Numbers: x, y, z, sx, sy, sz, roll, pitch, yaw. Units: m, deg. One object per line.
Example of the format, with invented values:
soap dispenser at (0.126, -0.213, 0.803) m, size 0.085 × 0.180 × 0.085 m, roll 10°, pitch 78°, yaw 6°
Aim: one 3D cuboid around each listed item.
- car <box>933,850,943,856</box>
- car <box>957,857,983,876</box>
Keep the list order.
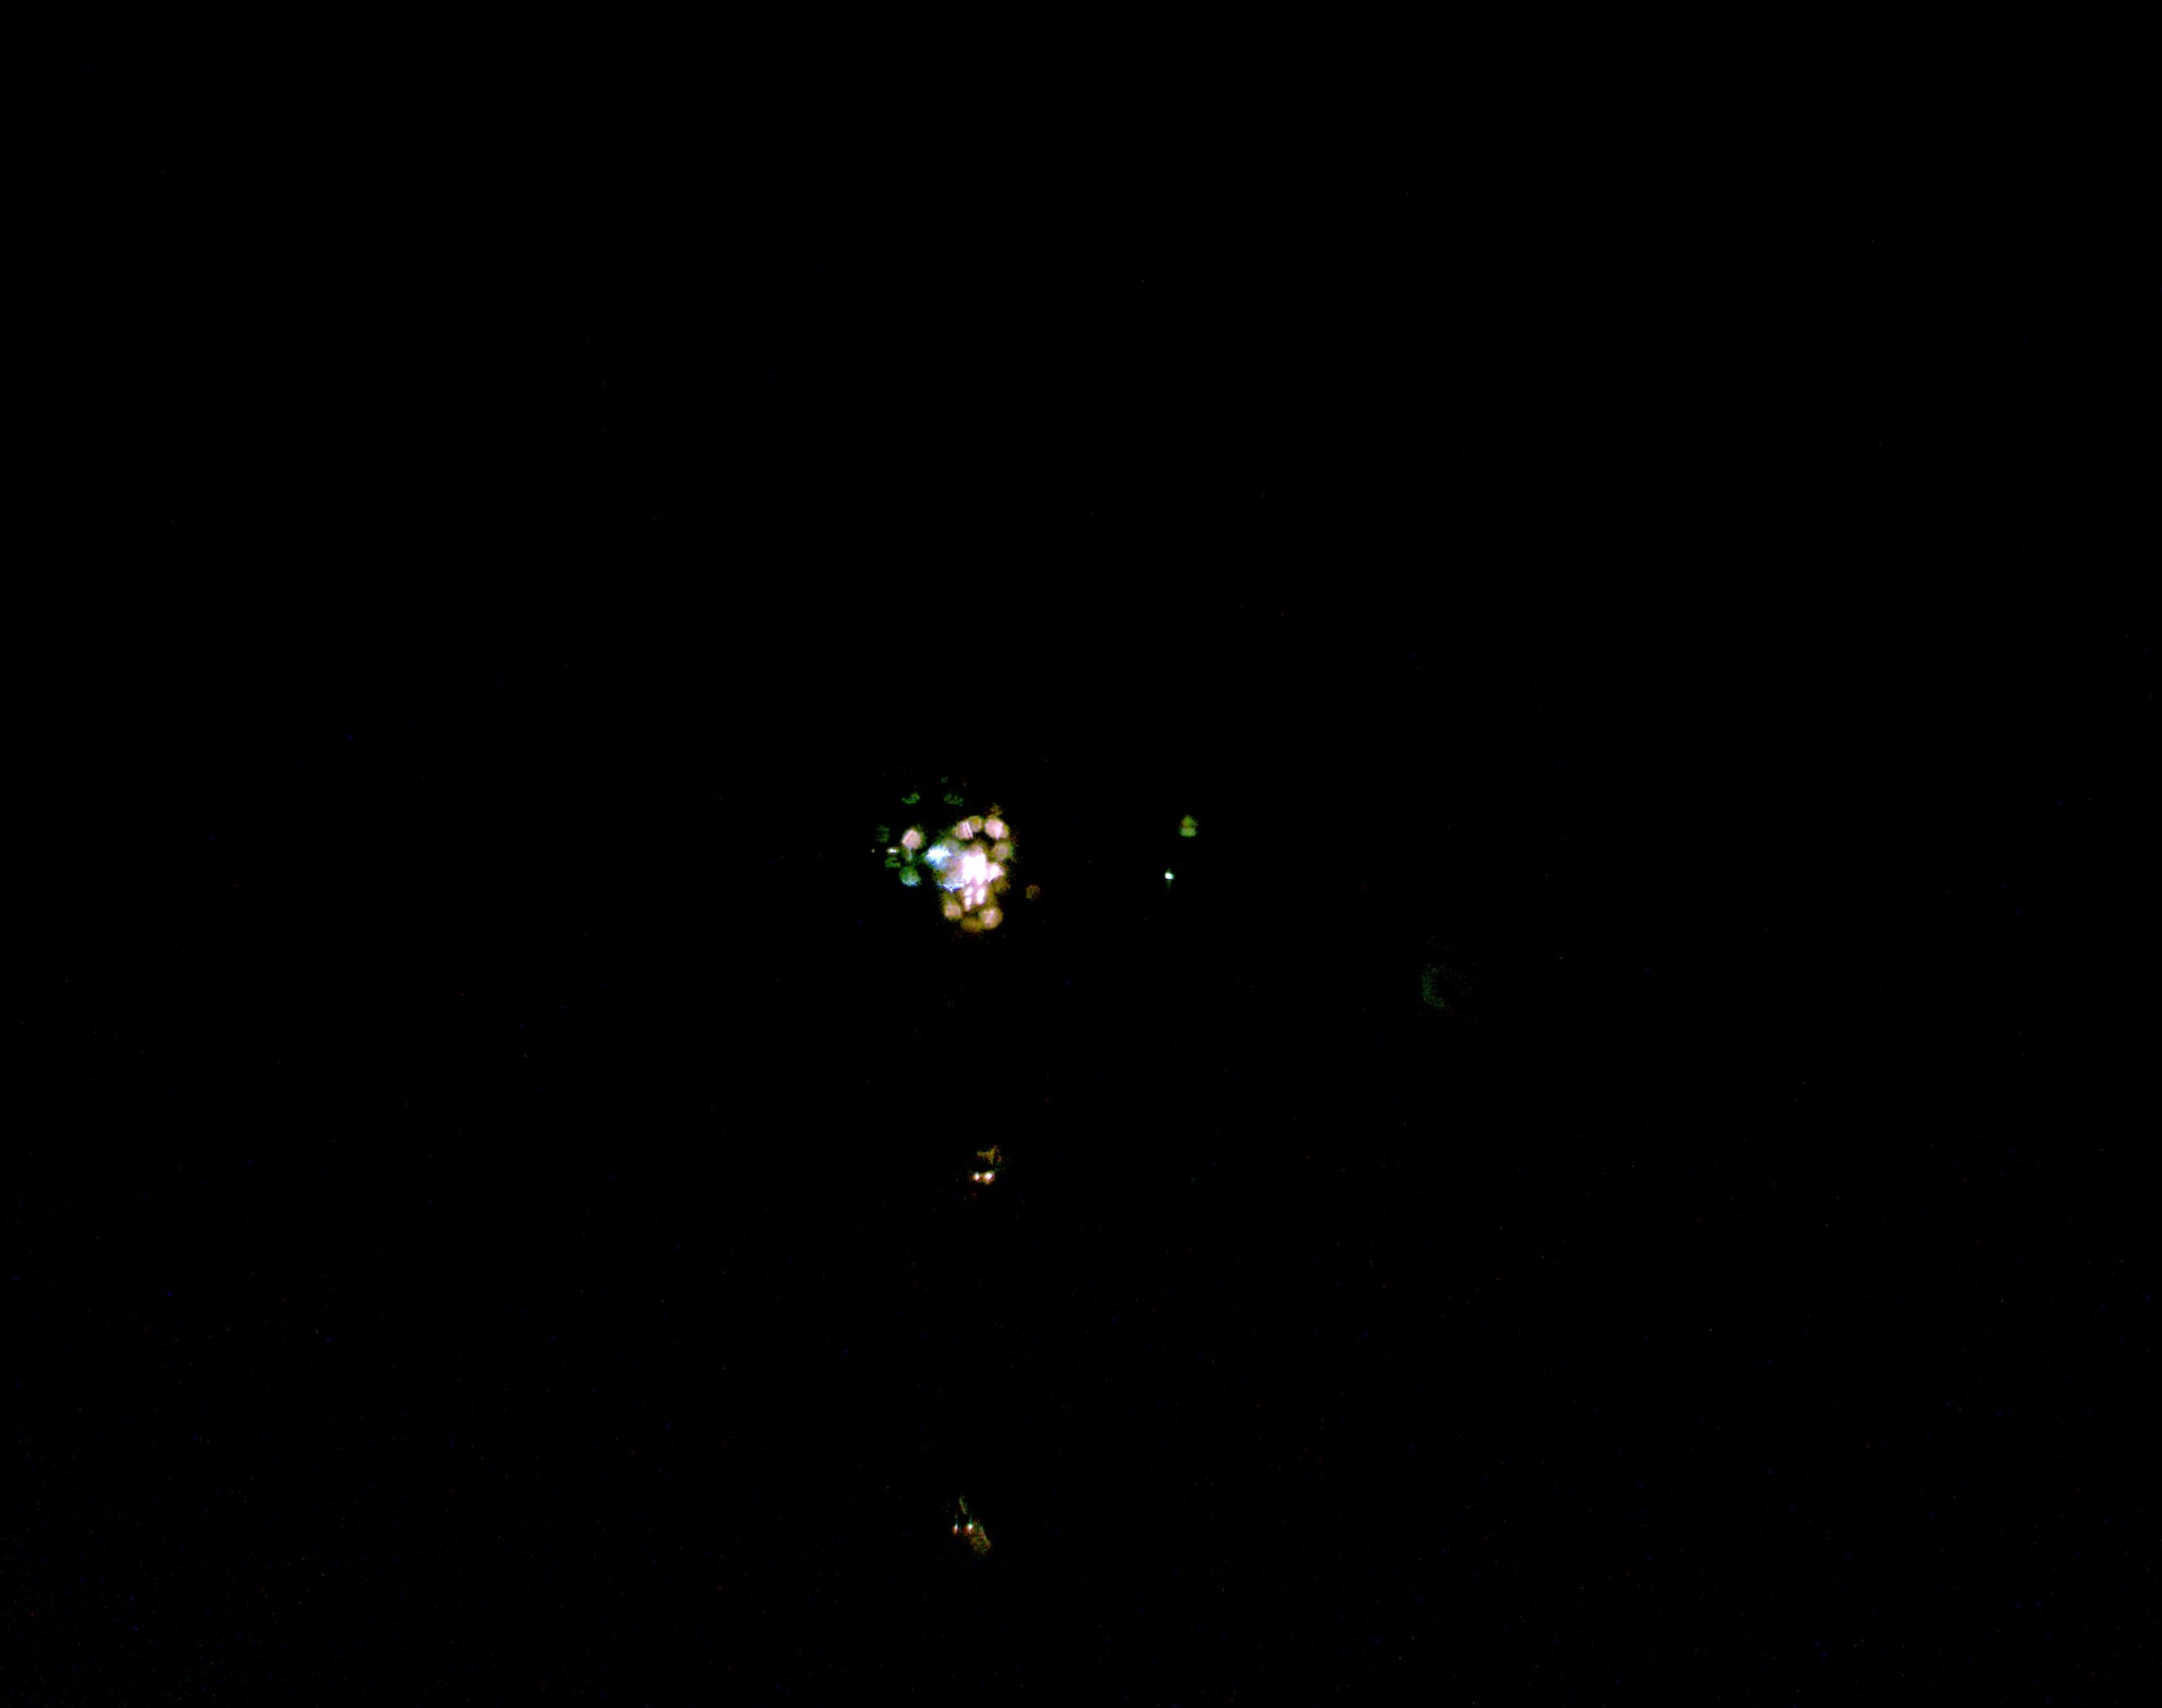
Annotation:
car at (-31.594, -0.253, 180.004) m, size 1.995 × 1.472 × 3.821 m, roll 0°, pitch 0°, yaw -12°
car at (-11.747, 1.297, 85.810) m, size 2.000 × 1.926 × 3.974 m, roll 0°, pitch 0°, yaw -19°
